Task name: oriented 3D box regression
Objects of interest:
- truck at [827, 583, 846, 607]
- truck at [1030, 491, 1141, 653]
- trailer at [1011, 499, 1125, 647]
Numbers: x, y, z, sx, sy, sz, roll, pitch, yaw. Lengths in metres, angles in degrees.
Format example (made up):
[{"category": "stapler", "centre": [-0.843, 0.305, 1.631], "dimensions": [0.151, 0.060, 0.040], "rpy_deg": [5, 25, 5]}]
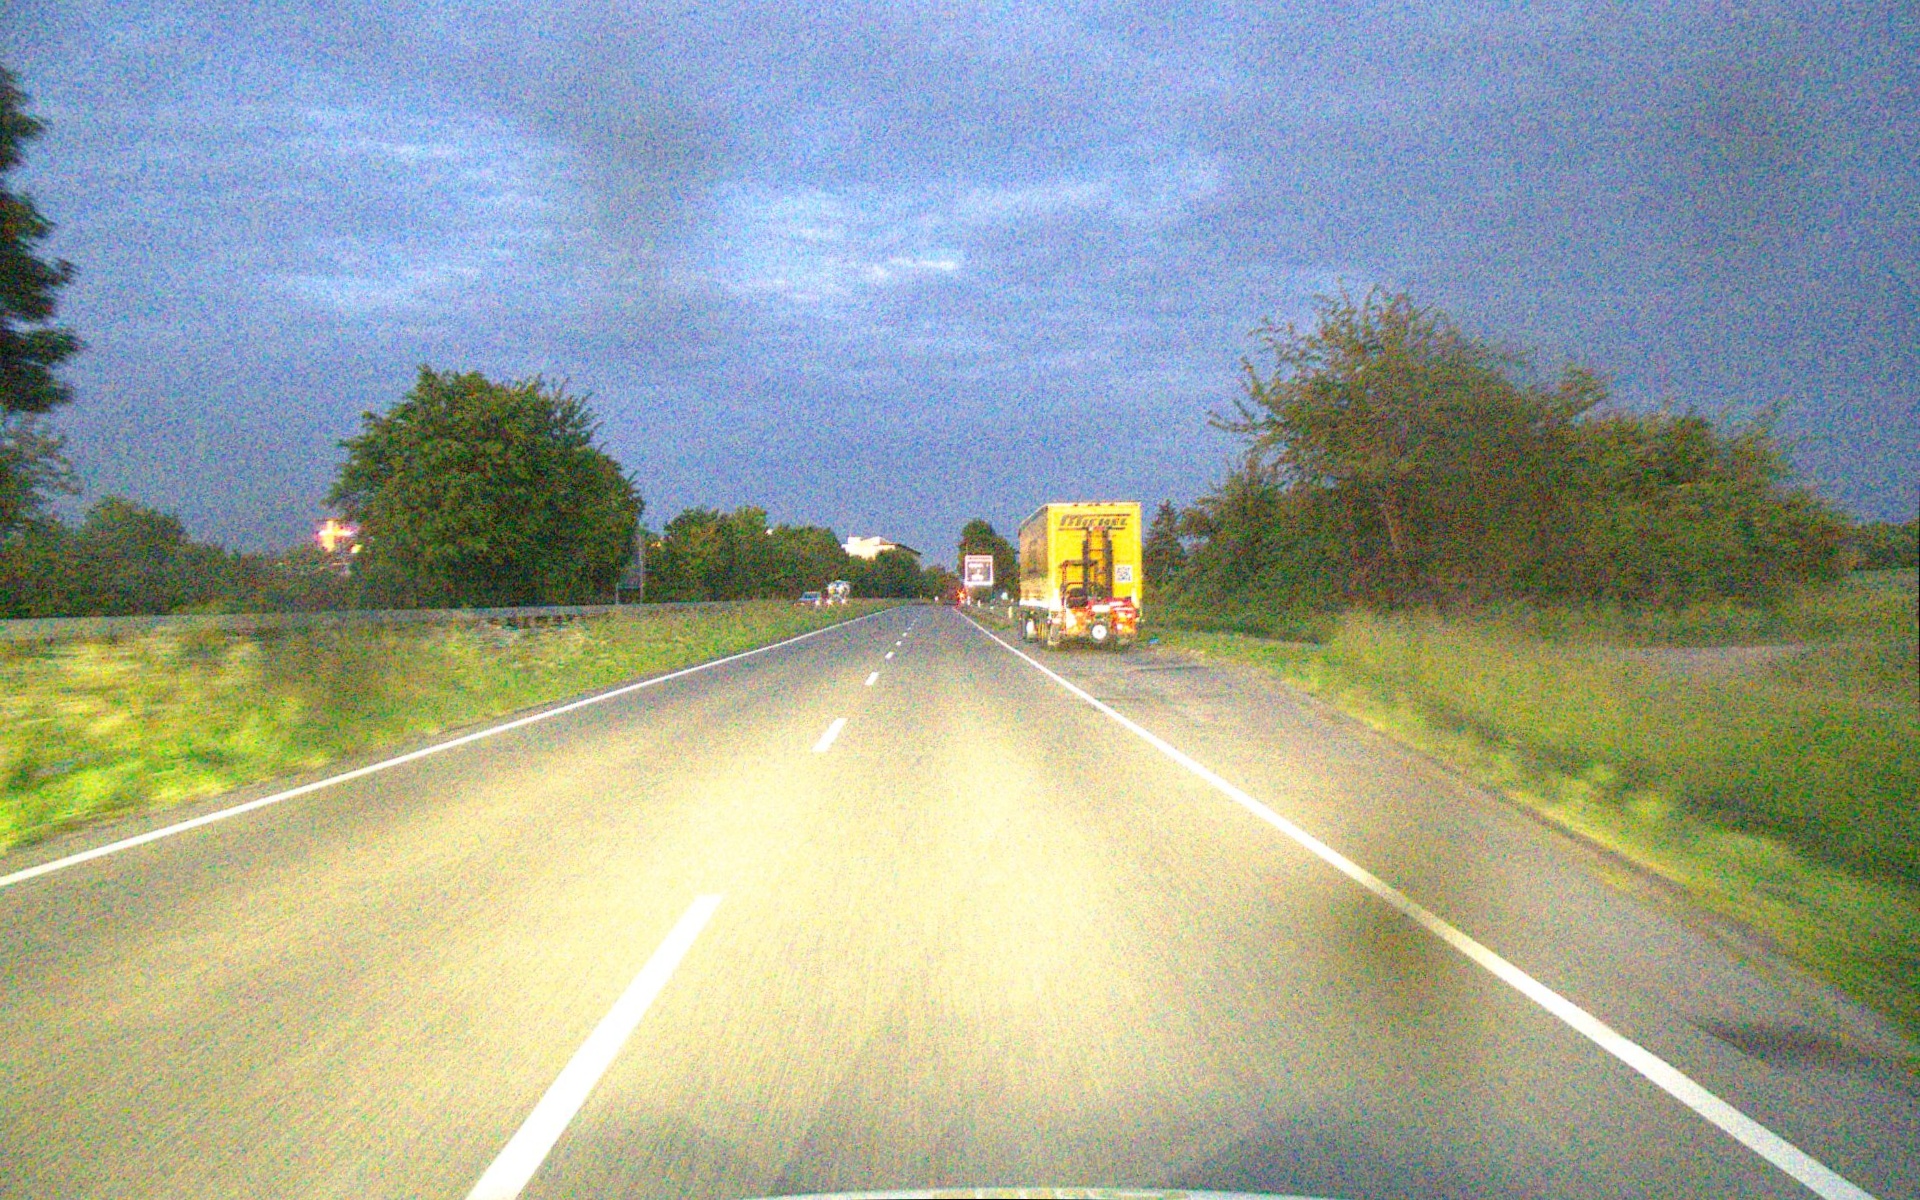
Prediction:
[{"category": "truck", "centre": [-18.358, -0.698, 245.622], "dimensions": [2.173, 3.505, 6.714], "rpy_deg": [2, 0, 0]}, {"category": "truck", "centre": [3.379, -0.749, 45.894], "dimensions": [2.527, 4.142, 6.130], "rpy_deg": [1, 0, 0]}, {"category": "trailer", "centre": [3.257, -0.788, 53.242], "dimensions": [2.569, 4.176, 12.934], "rpy_deg": [0, 0, -1]}]
